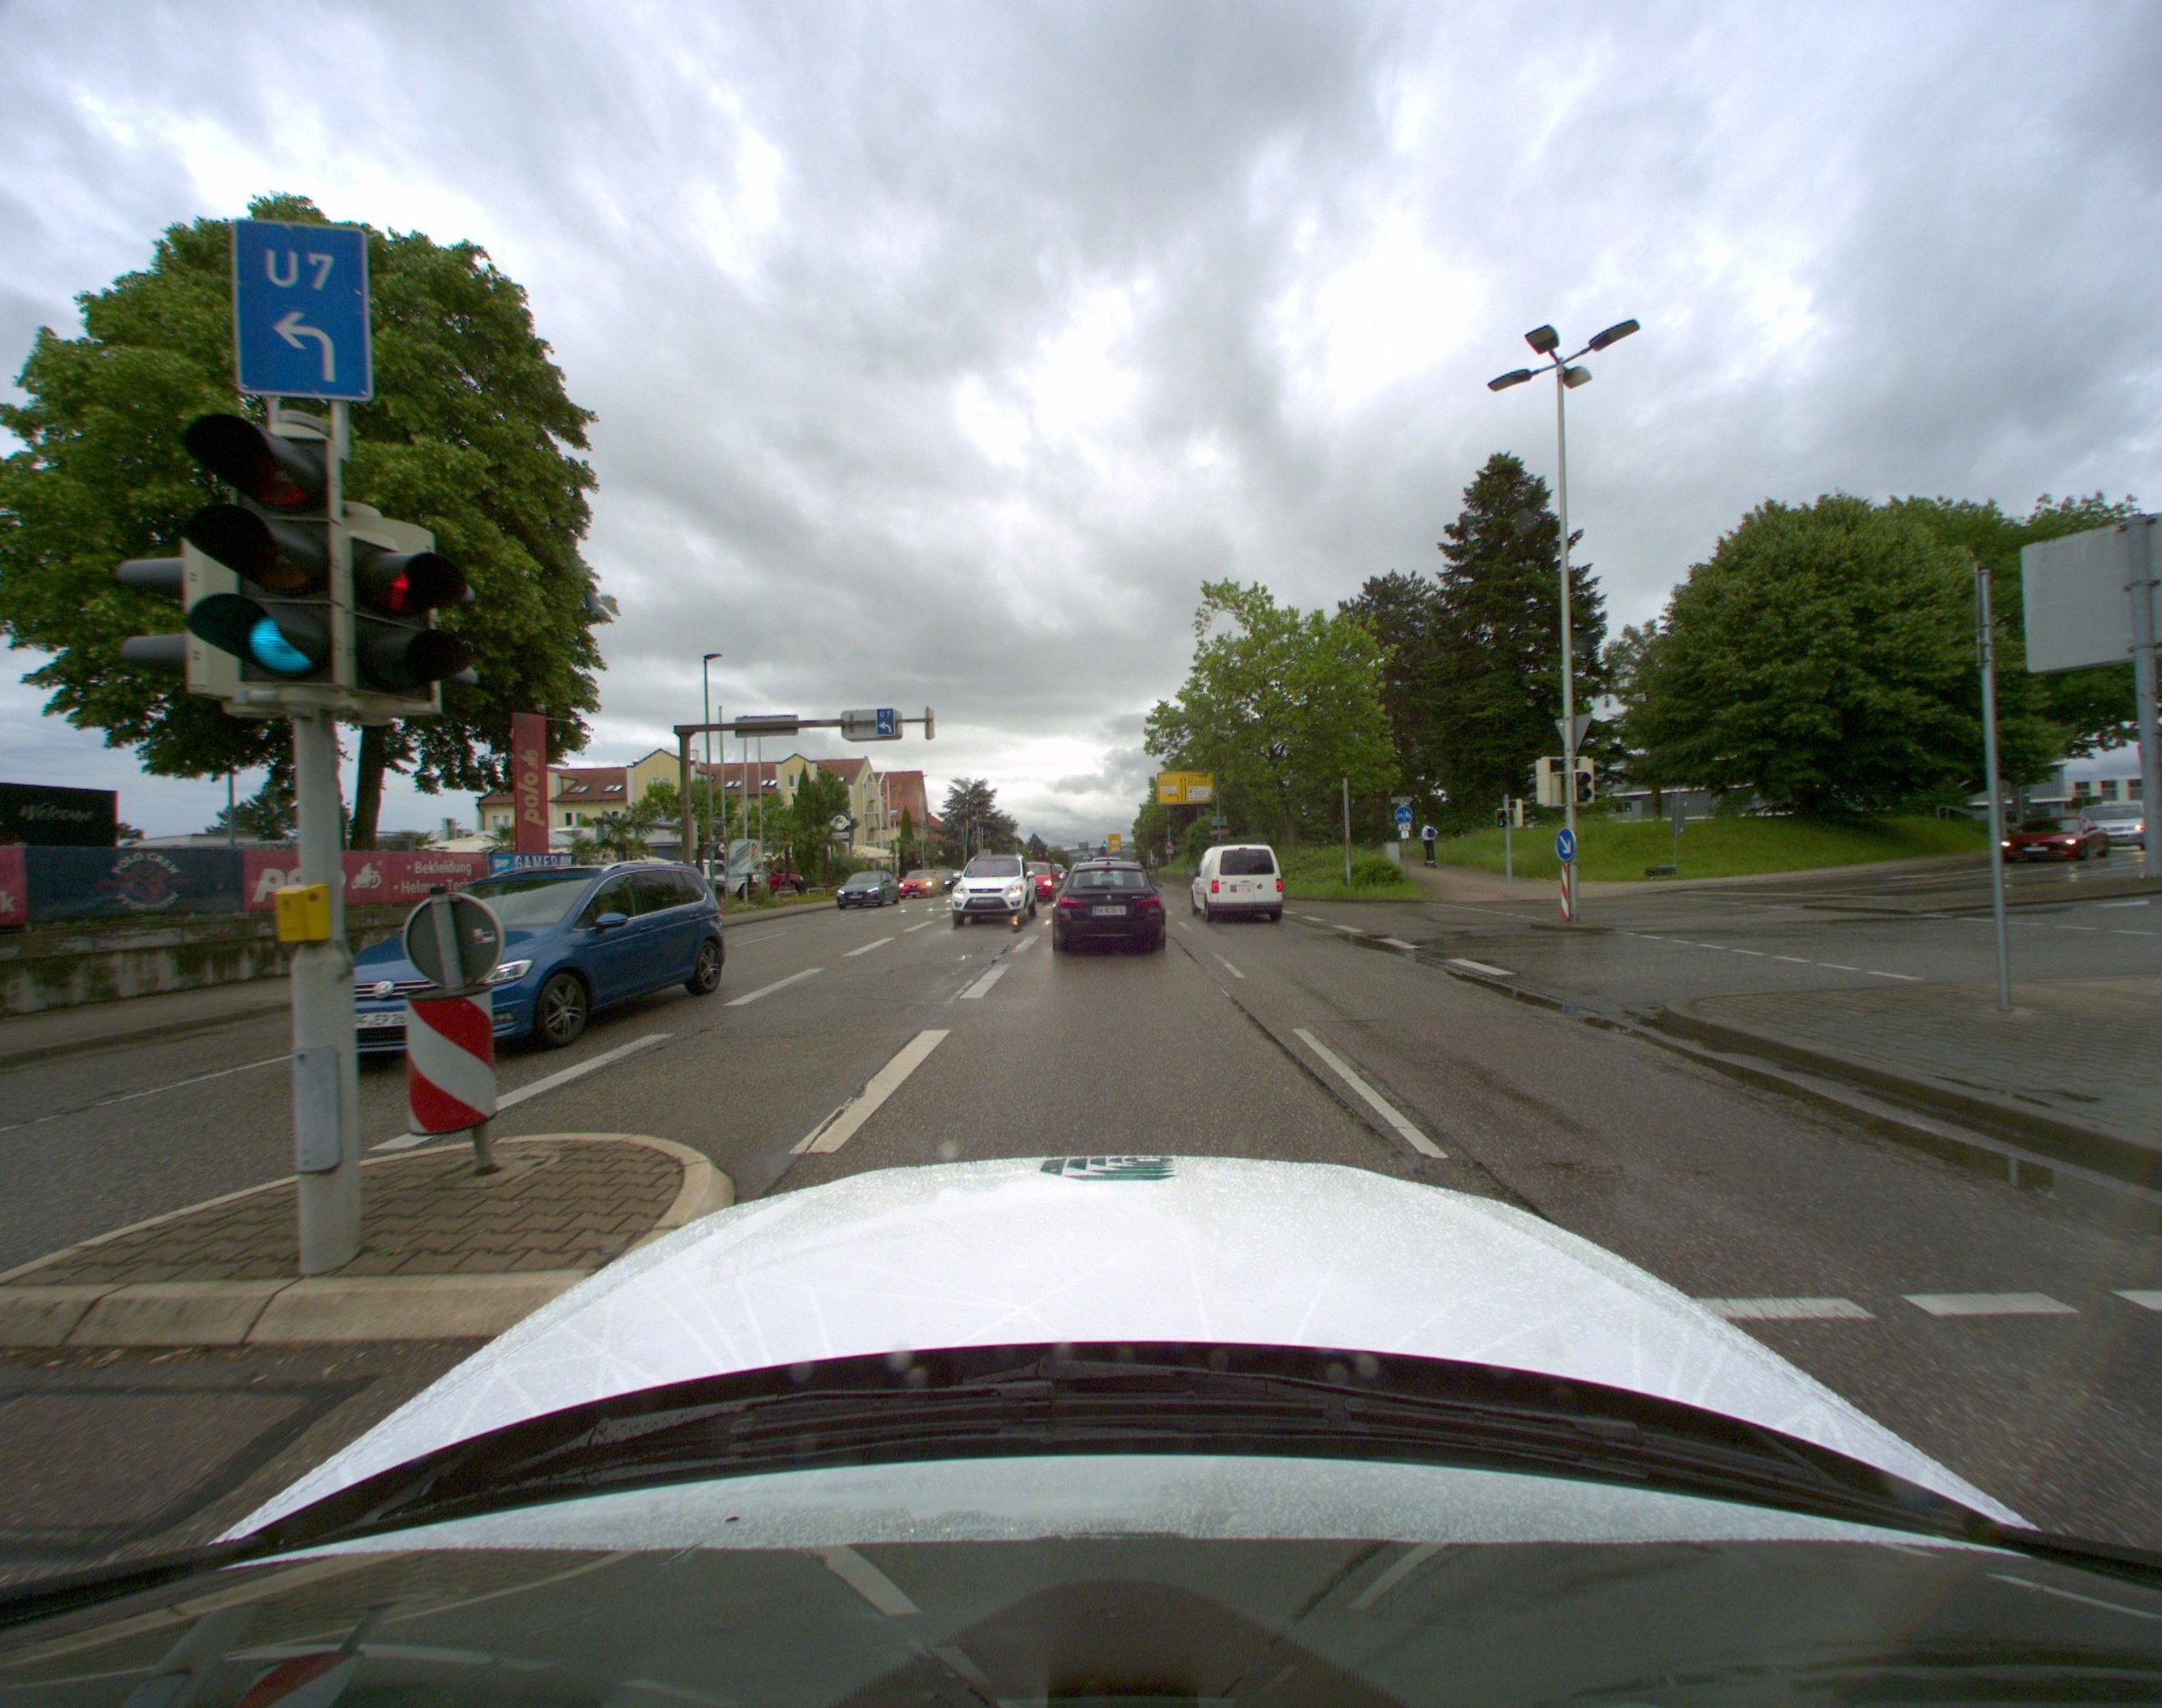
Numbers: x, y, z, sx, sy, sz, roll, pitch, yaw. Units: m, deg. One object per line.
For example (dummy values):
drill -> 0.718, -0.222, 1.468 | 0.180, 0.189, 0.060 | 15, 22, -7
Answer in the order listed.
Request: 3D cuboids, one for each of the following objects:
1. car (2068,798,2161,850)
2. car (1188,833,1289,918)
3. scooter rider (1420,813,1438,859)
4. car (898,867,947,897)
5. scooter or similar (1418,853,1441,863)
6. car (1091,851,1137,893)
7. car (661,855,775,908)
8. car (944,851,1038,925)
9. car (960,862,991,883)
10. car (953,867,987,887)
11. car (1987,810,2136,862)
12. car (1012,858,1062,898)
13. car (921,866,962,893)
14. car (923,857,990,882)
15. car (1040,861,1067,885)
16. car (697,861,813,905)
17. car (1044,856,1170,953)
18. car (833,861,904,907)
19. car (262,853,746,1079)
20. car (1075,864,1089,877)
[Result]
car -> 42.090, -1.210, 33.111 | 4.013, 1.859, 1.834 | -3, -2, -31
car -> 3.750, 0.460, 19.988 | 1.758, 1.877, 3.806 | -1, 0, 1
scooter rider -> 14.881, -0.764, 34.833 | 0.499, 1.965, 0.548 | -2, 0, 1
car -> -8.126, 1.399, 41.946 | 1.617, 1.332, 3.947 | -3, 0, 1
scooter or similar -> 14.916, 0.177, 34.854 | 0.485, 0.403, 1.256 | -2, 0, 1
car -> 1.421, 0.741, 35.422 | 1.861, 1.673, 4.002 | -1, 0, 2
car -> -16.159, 1.191, 36.316 | 4.410, 2.013, 1.982 | -4, 0, -27
car -> -2.206, 0.787, 21.098 | 1.833, 1.649, 4.298 | -2, 0, 1
car -> -8.118, 1.397, 63.115 | 1.764, 1.569, 4.001 | -1, 0, 1
car -> -7.537, 1.527, 55.579 | 1.617, 1.149, 3.856 | -3, 0, 1
car -> 32.838, -0.609, 27.291 | 3.999, 1.428, 1.841 | -3, -1, -19
car -> -1.689, 0.933, 32.103 | 1.626, 1.434, 4.144 | -2, -1, 1
car -> -8.338, 1.490, 48.901 | 1.597, 1.400, 4.404 | -4, 0, 0
car -> -8.313, 1.051, 54.443 | 4.002, 1.477, 1.649 | -2, -1, 14
car -> -1.759, 1.241, 53.070 | 1.596, 1.441, 3.948 | -1, -1, 1
car -> -15.873, 1.416, 39.655 | 5.024, 1.702, 1.982 | -3, -3, -27
car -> 0.465, 0.782, 14.317 | 1.891, 1.441, 4.002 | -1, -1, 2
car -> -8.546, 1.159, 33.061 | 1.670, 1.618, 4.001 | -3, 0, 1
car -> -5.367, 0.866, 8.476 | 1.833, 1.649, 4.298 | -3, 0, 1
car -> 0.211, 2.418, 119.339 | 1.861, 1.673, 4.002 | -1, 0, 2
